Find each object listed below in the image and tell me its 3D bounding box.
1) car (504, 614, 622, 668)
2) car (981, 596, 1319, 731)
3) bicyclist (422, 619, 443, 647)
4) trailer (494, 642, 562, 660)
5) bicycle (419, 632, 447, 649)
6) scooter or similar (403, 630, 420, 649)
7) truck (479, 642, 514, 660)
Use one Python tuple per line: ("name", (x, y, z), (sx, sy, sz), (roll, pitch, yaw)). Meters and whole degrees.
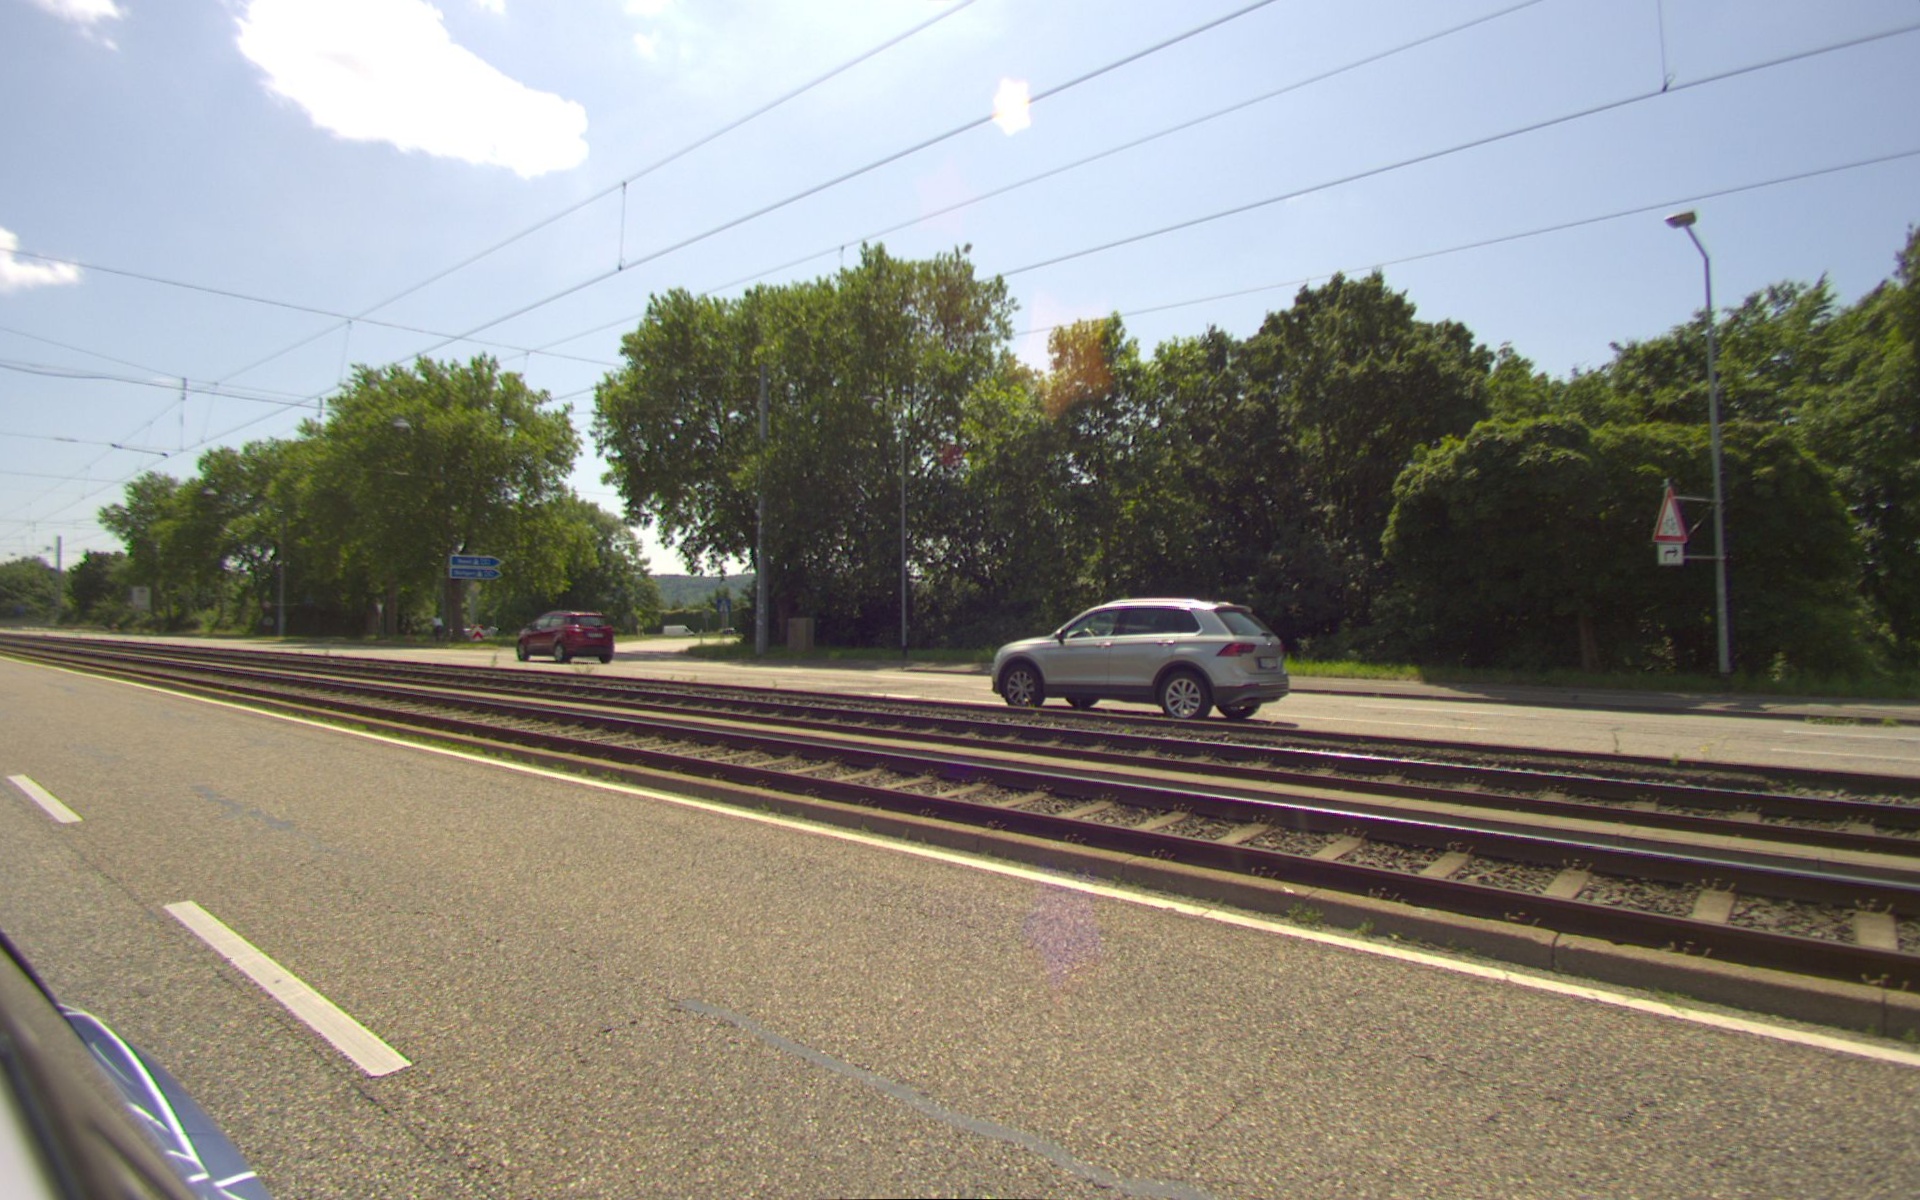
("car", (-12.951, 1.311, 32.934), (4.209, 1.638, 1.782), (-1, -3, 41))
("car", (2.591, 0.839, 14.481), (4.491, 1.638, 1.782), (-1, -3, 41))
("bicyclist", (-29.464, 1.854, 56.533), (1.159, 1.529, 0.615), (-1, -2, 40))
("trailer", (-86.409, 10.137, 202.684), (12.166, 3.466, 3.348), (0, -1, -19))
("bicycle", (-29.442, 2.261, 56.528), (2.090, 0.946, 0.615), (-1, -2, 40))
("scooter or similar", (-34.211, 2.453, 63.122), (1.234, 1.159, 0.456), (-1, -1, 40))
("truck", (-91.888, 10.075, 200.801), (6.036, 3.408, 3.340), (0, -1, -19))
